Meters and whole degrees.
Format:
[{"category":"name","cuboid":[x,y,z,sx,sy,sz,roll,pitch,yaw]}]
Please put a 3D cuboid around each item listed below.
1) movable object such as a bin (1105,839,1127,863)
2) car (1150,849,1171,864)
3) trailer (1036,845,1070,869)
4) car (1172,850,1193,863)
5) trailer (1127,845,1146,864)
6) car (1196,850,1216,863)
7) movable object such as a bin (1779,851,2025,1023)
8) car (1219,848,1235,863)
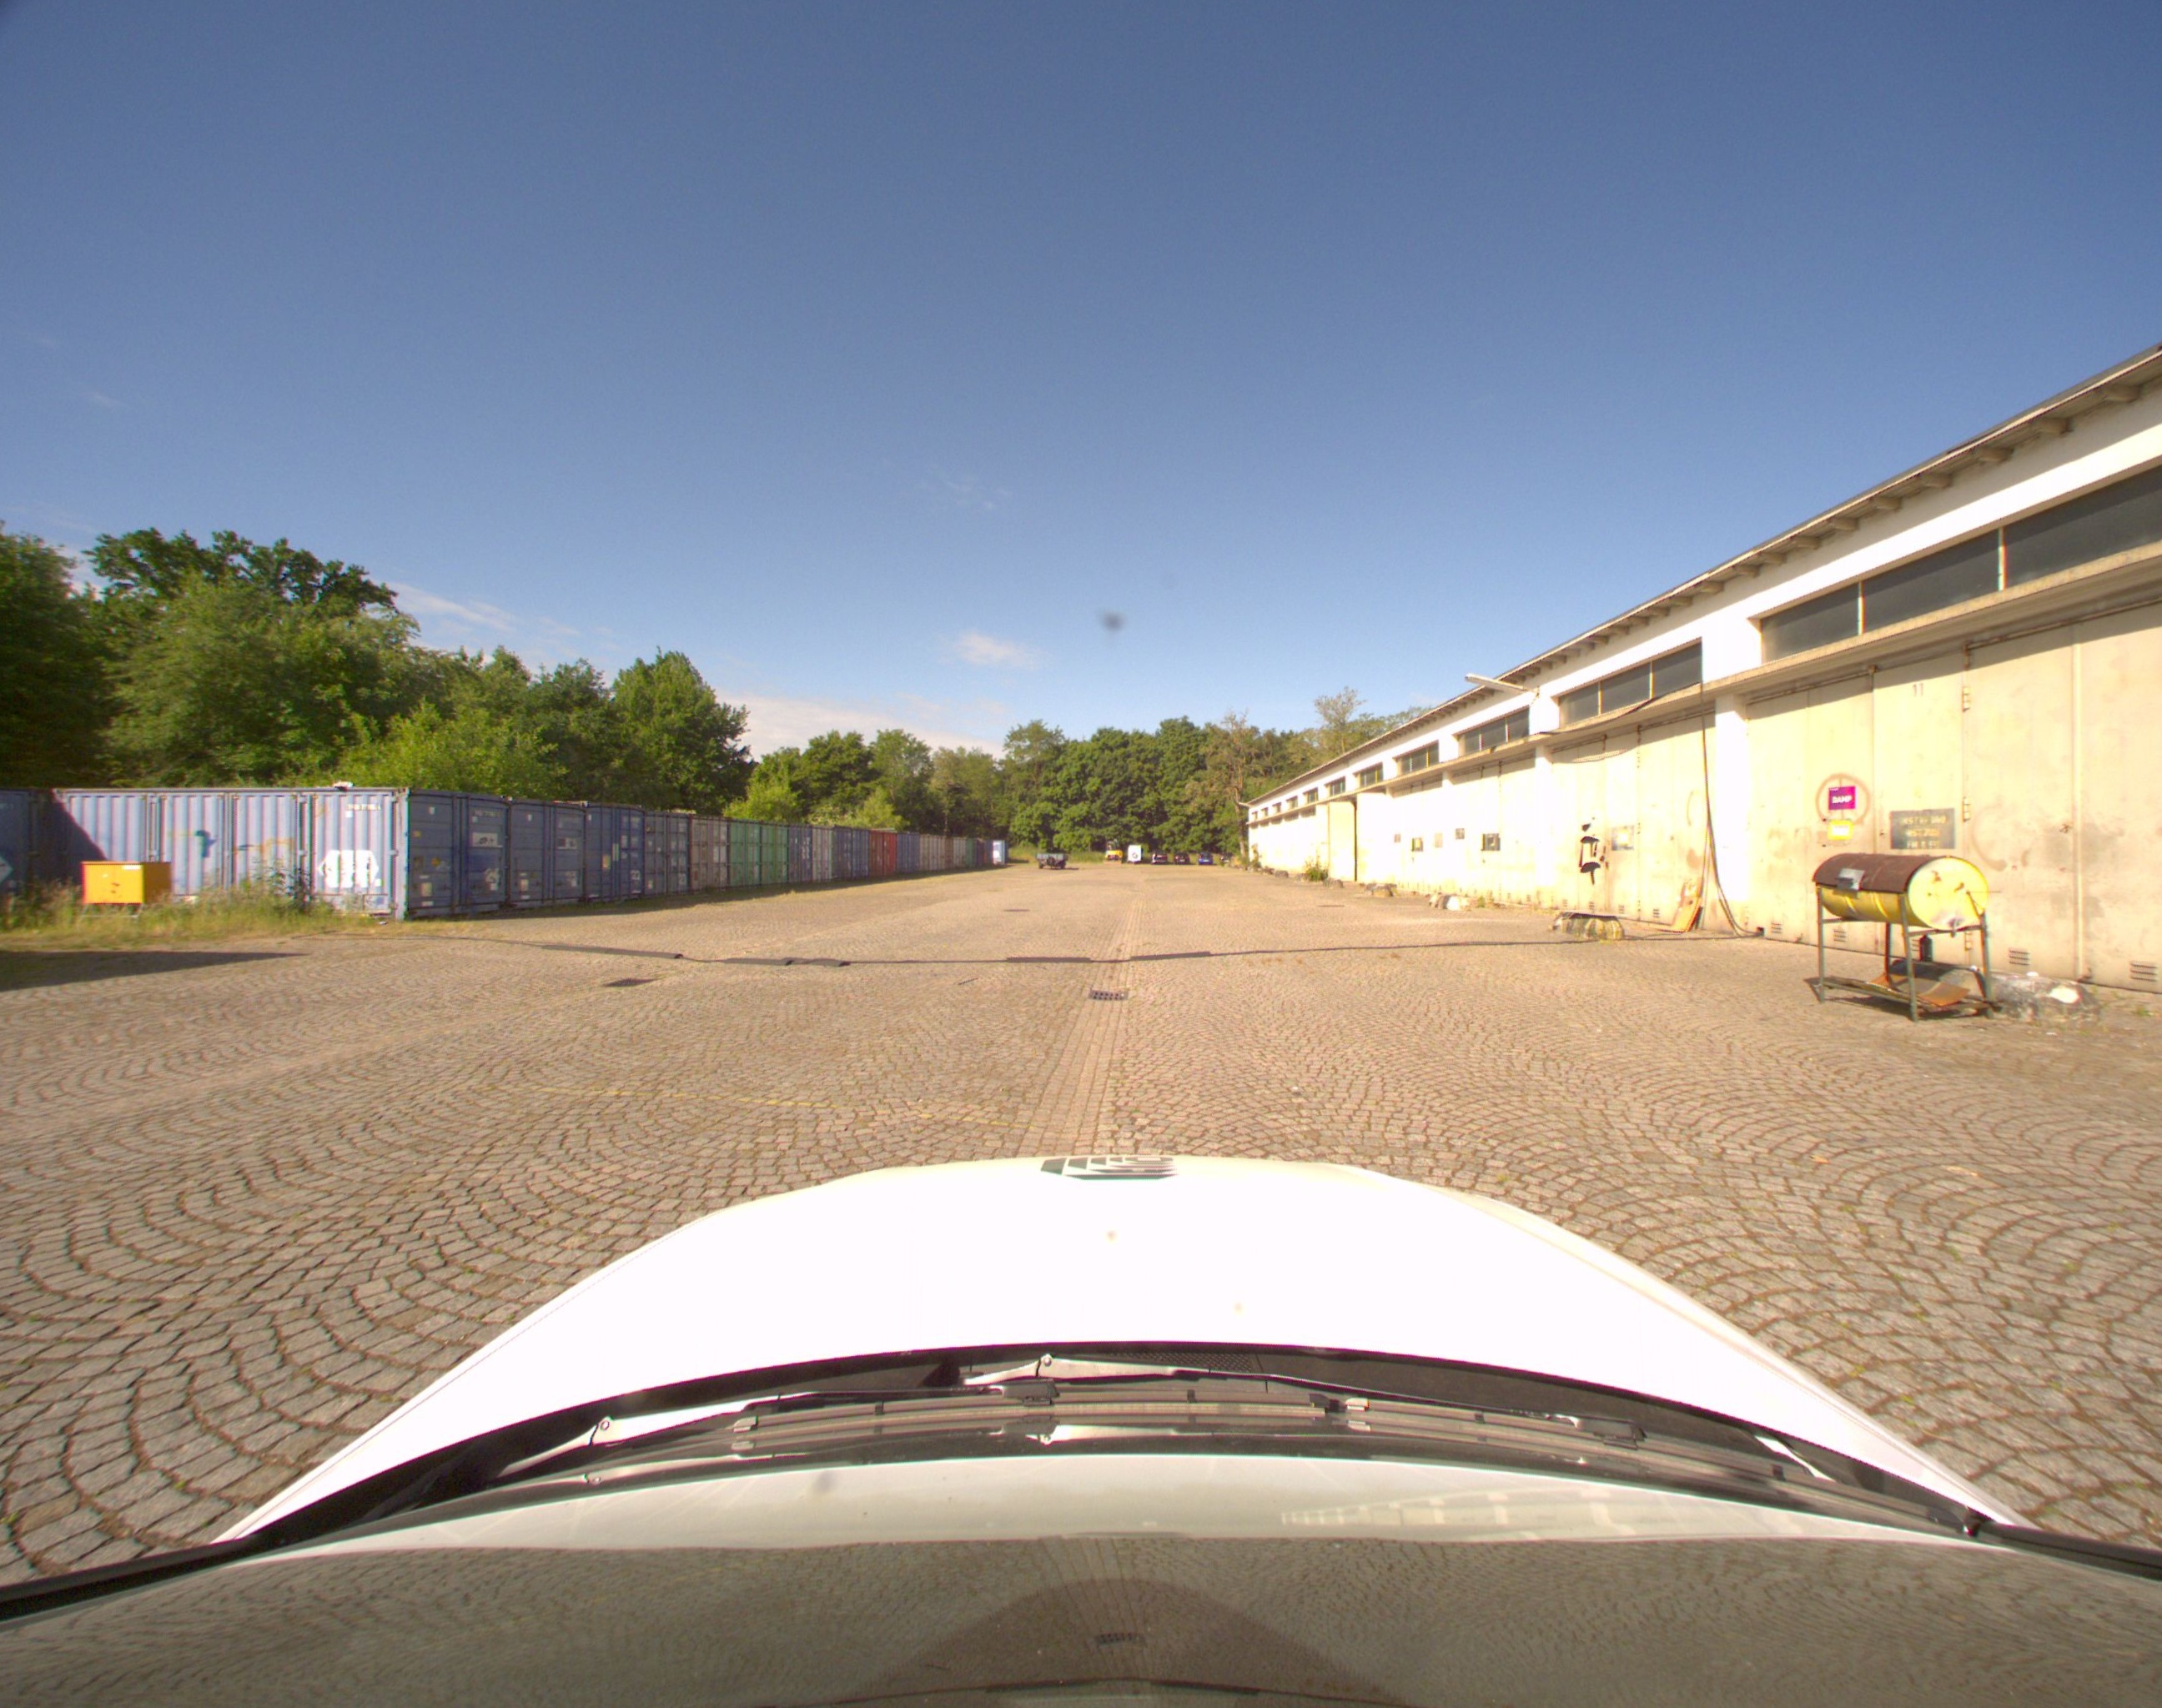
[{"category":"movable object such as a bin","cuboid":[3.965,-0.303,92.872,1.982,2.618,4.010,2,0,9]},{"category":"car","cuboid":[8.834,0.253,90.267,1.849,1.585,4.013,0,0,12]},{"category":"trailer","cuboid":[-2.544,0.253,73.967,2.394,2.013,4.181,2,0,7]},{"category":"car","cuboid":[11.298,0.274,90.559,1.980,1.462,4.013,0,0,12]},{"category":"trailer","cuboid":[6.326,0.005,92.425,1.783,2.090,3.981,0,0,9]},{"category":"car","cuboid":[13.912,0.281,90.372,1.980,1.420,4.013,0,0,12]},{"category":"movable object such as a bin","cuboid":[6.914,0.643,6.955,0.821,1.331,1.280,0,0,0]},{"category":"car","cuboid":[16.450,0.172,91.428,1.674,1.563,4.013,0,0,12]}]
